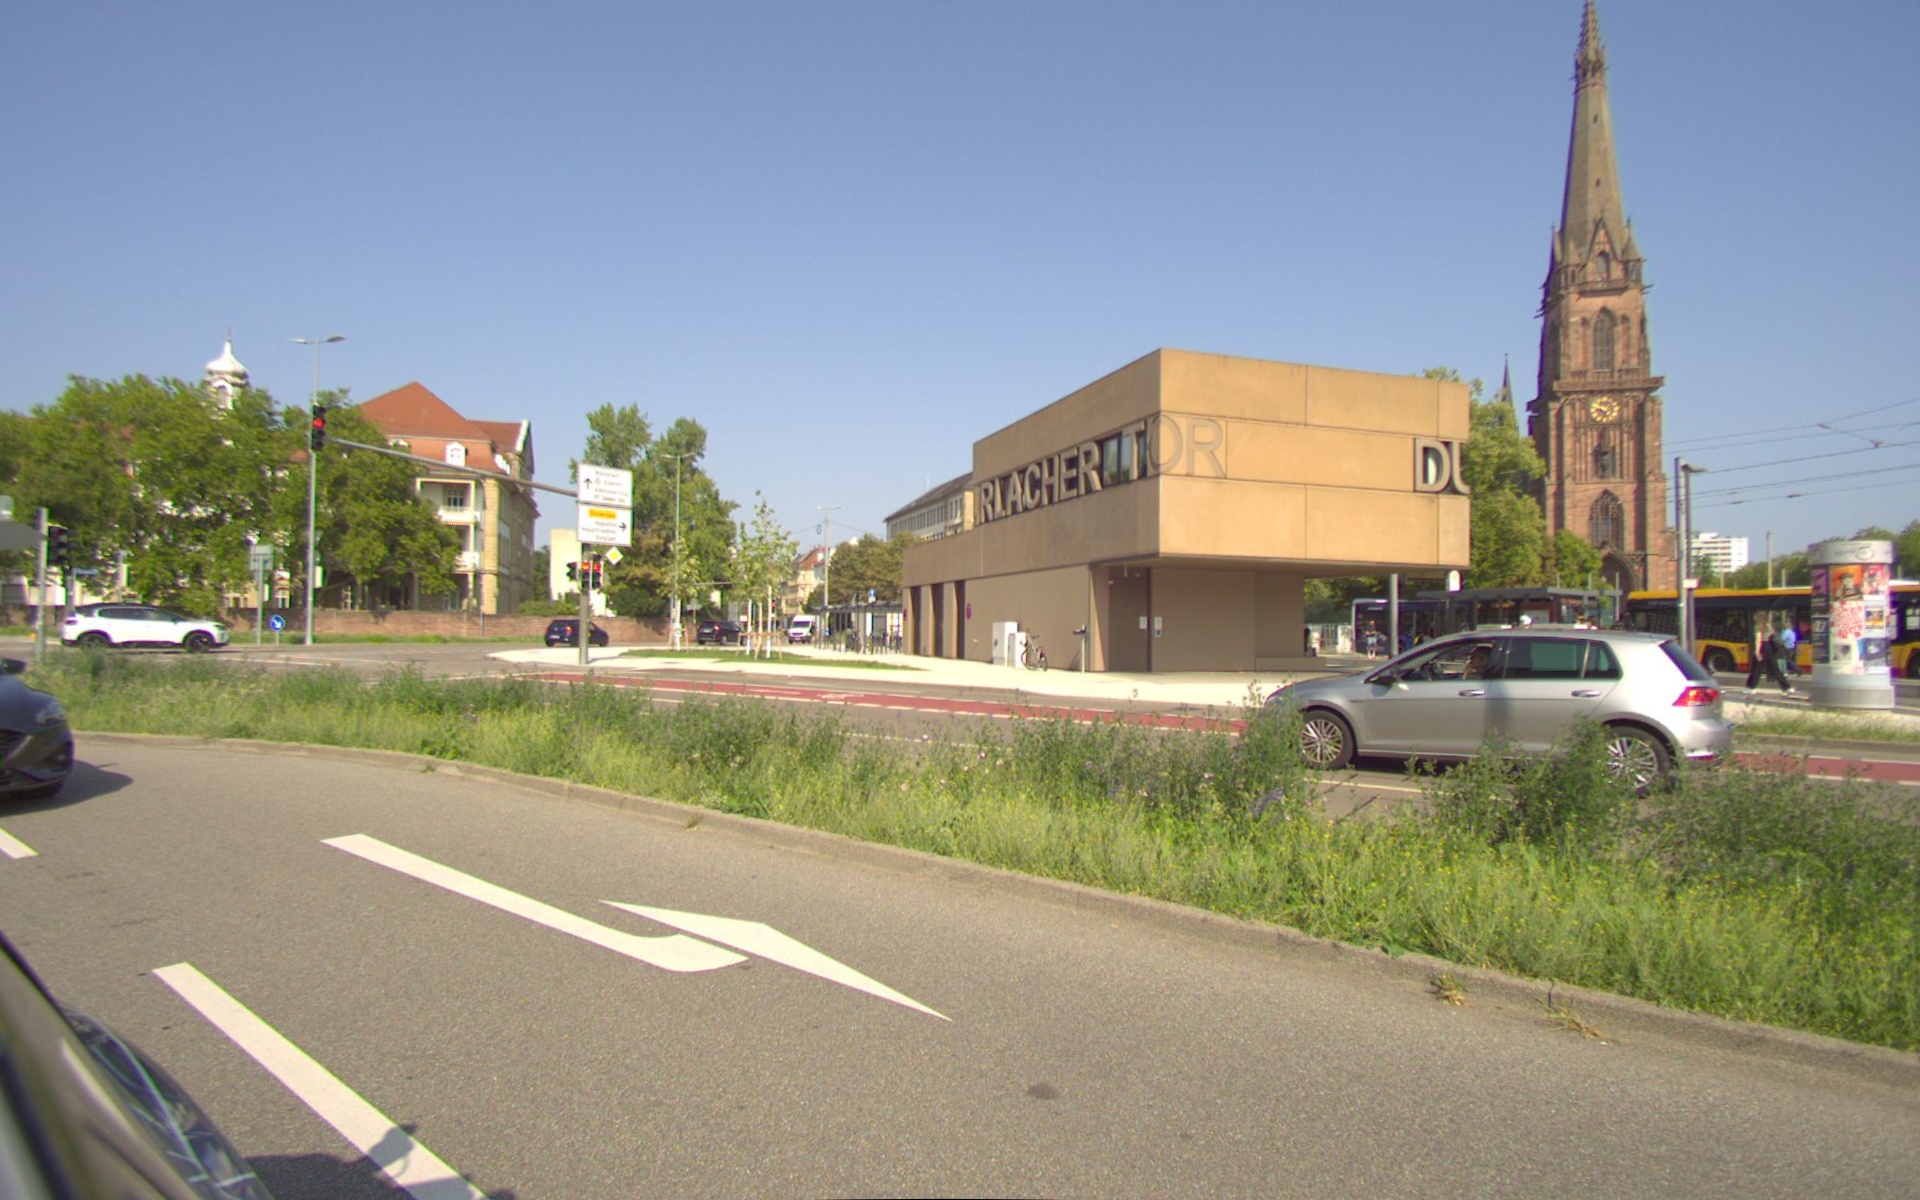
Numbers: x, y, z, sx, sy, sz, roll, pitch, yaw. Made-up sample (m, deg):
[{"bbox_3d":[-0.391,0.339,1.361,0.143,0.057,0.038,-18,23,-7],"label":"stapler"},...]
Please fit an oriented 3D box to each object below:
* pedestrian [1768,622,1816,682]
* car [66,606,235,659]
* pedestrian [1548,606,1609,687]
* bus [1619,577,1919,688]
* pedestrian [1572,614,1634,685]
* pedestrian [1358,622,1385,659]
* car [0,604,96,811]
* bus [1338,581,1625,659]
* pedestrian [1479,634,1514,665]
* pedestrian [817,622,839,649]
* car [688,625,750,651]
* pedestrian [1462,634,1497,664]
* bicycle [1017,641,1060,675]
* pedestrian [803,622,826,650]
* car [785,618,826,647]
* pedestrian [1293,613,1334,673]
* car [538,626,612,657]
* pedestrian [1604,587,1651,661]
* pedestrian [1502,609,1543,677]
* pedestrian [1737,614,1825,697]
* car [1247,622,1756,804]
[{"bbox_3d":[25.125,1.558,30.564,0.816,1.752,0.838,2,-2,-29],"label":"pedestrian"},{"bbox_3d":[-27.093,1.098,33.981,4.303,1.646,2.003,1,-3,-41],"label":"car"},{"bbox_3d":[13.930,1.033,22.803,0.974,1.783,0.868,2,-2,-37],"label":"pedestrian"},{"bbox_3d":[27.457,1.022,31.843,2.670,3.132,12.252,1,-2,-18],"label":"bus"},{"bbox_3d":[14.805,1.126,23.302,0.973,1.575,0.868,2,-2,-33],"label":"pedestrian"},{"bbox_3d":[19.286,1.892,47.467,0.816,1.719,0.838,1,-2,-25],"label":"pedestrian"},{"bbox_3d":[-8.885,0.764,7.855,4.530,1.446,1.820,-1,-2,29],"label":"car"},{"bbox_3d":[22.636,0.950,45.471,3.242,3.000,12.836,1,-2,-18],"label":"bus"},{"bbox_3d":[20.469,1.891,38.602,1.013,1.142,0.740,1,-2,-26],"label":"pedestrian"},{"bbox_3d":[-10.035,2.705,76.950,1.203,2.029,1.334,0,-2,21],"label":"pedestrian"},{"bbox_3d":[-15.994,2.508,67.361,1.984,1.646,4.345,0,-2,18],"label":"car"},{"bbox_3d":[20.235,1.891,39.442,1.013,1.142,0.740,1,-2,-26],"label":"pedestrian"},{"bbox_3d":[2.126,1.570,27.592,0.582,0.844,1.552,-2,-1,-17],"label":"bicycle"},{"bbox_3d":[-10.785,2.657,75.268,1.203,2.029,1.334,0,-2,21],"label":"pedestrian"},{"bbox_3d":[-14.135,2.933,92.970,1.979,2.470,5.532,-1,0,11],"label":"car"},{"bbox_3d":[10.333,1.244,29.563,0.851,1.718,0.734,1,-2,-22],"label":"pedestrian"},{"bbox_3d":[-19.745,2.117,52.117,1.611,1.509,3.830,0,-2,15],"label":"car"},{"bbox_3d":[15.770,0.569,23.921,0.863,1.718,0.979,-1,-2,31],"label":"pedestrian"},{"bbox_3d":[14.231,1.074,25.601,0.863,1.685,0.979,-1,-2,31],"label":"pedestrian"},{"bbox_3d":[16.022,1.070,19.766,0.852,1.571,0.992,1,-2,-12],"label":"pedestrian"},{"bbox_3d":[5.236,0.959,10.117,4.218,1.444,1.796,-1,-2,38],"label":"car"}]
